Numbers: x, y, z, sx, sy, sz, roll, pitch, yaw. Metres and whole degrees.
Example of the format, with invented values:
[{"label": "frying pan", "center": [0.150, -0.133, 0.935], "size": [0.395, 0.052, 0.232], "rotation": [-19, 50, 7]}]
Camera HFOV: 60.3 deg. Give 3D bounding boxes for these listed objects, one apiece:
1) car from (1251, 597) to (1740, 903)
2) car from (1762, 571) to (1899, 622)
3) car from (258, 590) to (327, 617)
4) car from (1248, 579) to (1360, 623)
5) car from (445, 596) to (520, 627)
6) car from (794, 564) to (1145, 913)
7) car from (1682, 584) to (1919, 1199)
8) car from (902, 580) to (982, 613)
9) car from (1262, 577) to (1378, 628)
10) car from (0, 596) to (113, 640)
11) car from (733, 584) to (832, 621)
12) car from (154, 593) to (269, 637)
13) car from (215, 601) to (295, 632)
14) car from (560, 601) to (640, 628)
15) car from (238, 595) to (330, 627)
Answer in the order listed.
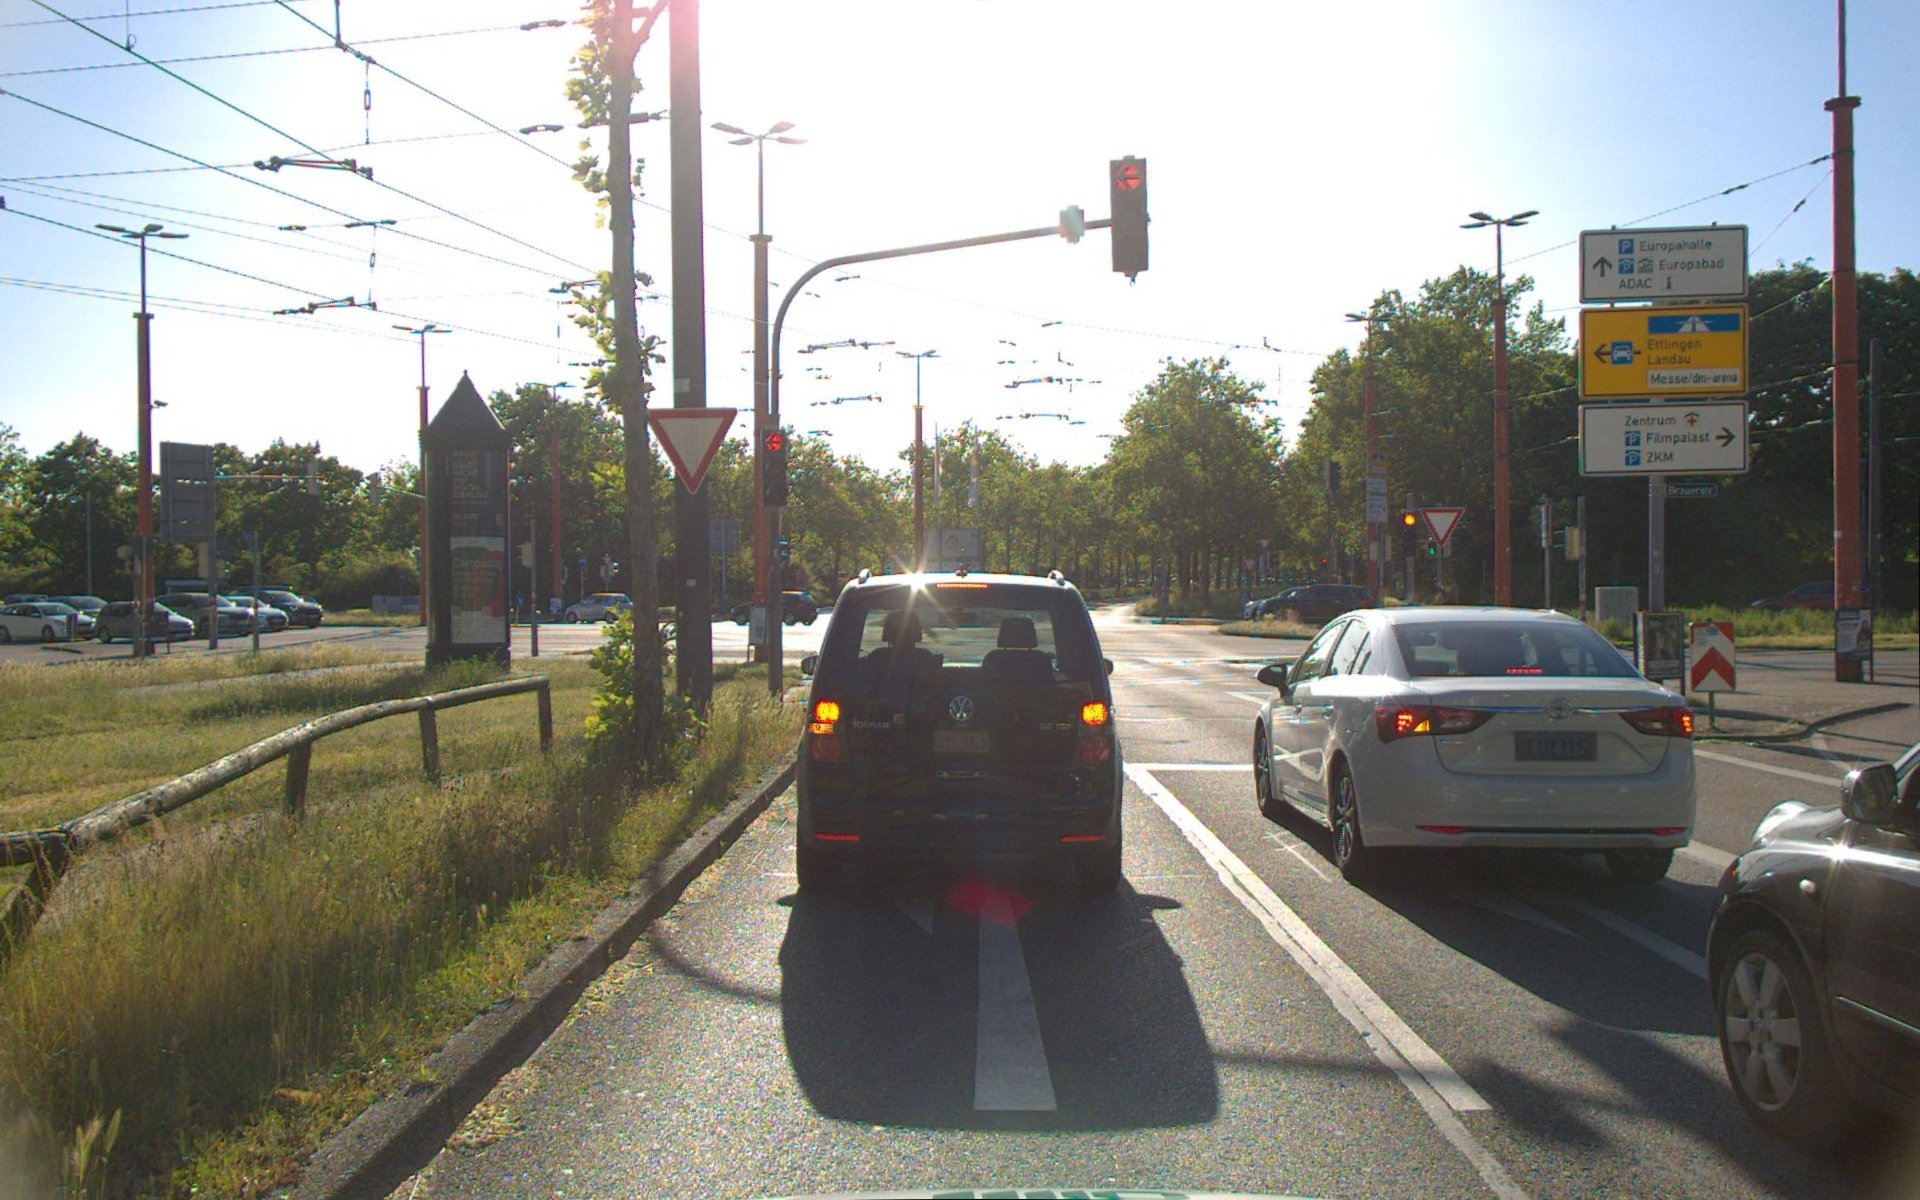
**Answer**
[{"label": "car", "center": [2.976, 0.728, 10.154], "size": [1.685, 1.463, 4.198], "rotation": [1, 0, 1]}, {"label": "car", "center": [30.684, -0.136, 58.384], "size": [4.210, 1.735, 1.844], "rotation": [0, 0, 29]}, {"label": "car", "center": [-37.720, 0.208, 93.427], "size": [3.662, 1.499, 1.599], "rotation": [0, 0, 26]}, {"label": "car", "center": [13.921, 0.042, 66.946], "size": [4.149, 1.711, 1.700], "rotation": [0, 0, 29]}, {"label": "car", "center": [-23.250, 0.550, 80.477], "size": [3.325, 1.483, 1.464], "rotation": [0, 0, 23]}, {"label": "car", "center": [0.012, 0.647, 9.812], "size": [1.666, 1.650, 3.896], "rotation": [0, 0, -1]}, {"label": "car", "center": [3.171, 0.739, 3.577], "size": [1.620, 1.526, 3.614], "rotation": [1, 0, 0]}, {"label": "car", "center": [-0.813, -0.164, 74.566], "size": [3.368, 1.392, 1.289], "rotation": [1, 0, 26]}, {"label": "car", "center": [13.835, 0.105, 63.575], "size": [4.108, 1.916, 1.766], "rotation": [0, 0, 23]}, {"label": "car", "center": [-34.608, 0.677, 63.188], "size": [4.091, 1.640, 1.867], "rotation": [0, 0, 25]}, {"label": "car", "center": [-7.942, 0.116, 74.136], "size": [3.942, 1.624, 2.000], "rotation": [0, 0, 23]}, {"label": "car", "center": [-28.988, 0.568, 64.077], "size": [3.907, 1.673, 1.999], "rotation": [0, 0, 24]}, {"label": "car", "center": [-28.946, 0.671, 67.913], "size": [3.102, 1.219, 1.526], "rotation": [0, 0, 31]}, {"label": "car", "center": [-18.112, 0.734, 83.132], "size": [3.753, 1.286, 1.601], "rotation": [1, 0, 26]}, {"label": "car", "center": [-29.274, 0.468, 71.582], "size": [3.913, 1.353, 1.694], "rotation": [0, 0, 31]}]
